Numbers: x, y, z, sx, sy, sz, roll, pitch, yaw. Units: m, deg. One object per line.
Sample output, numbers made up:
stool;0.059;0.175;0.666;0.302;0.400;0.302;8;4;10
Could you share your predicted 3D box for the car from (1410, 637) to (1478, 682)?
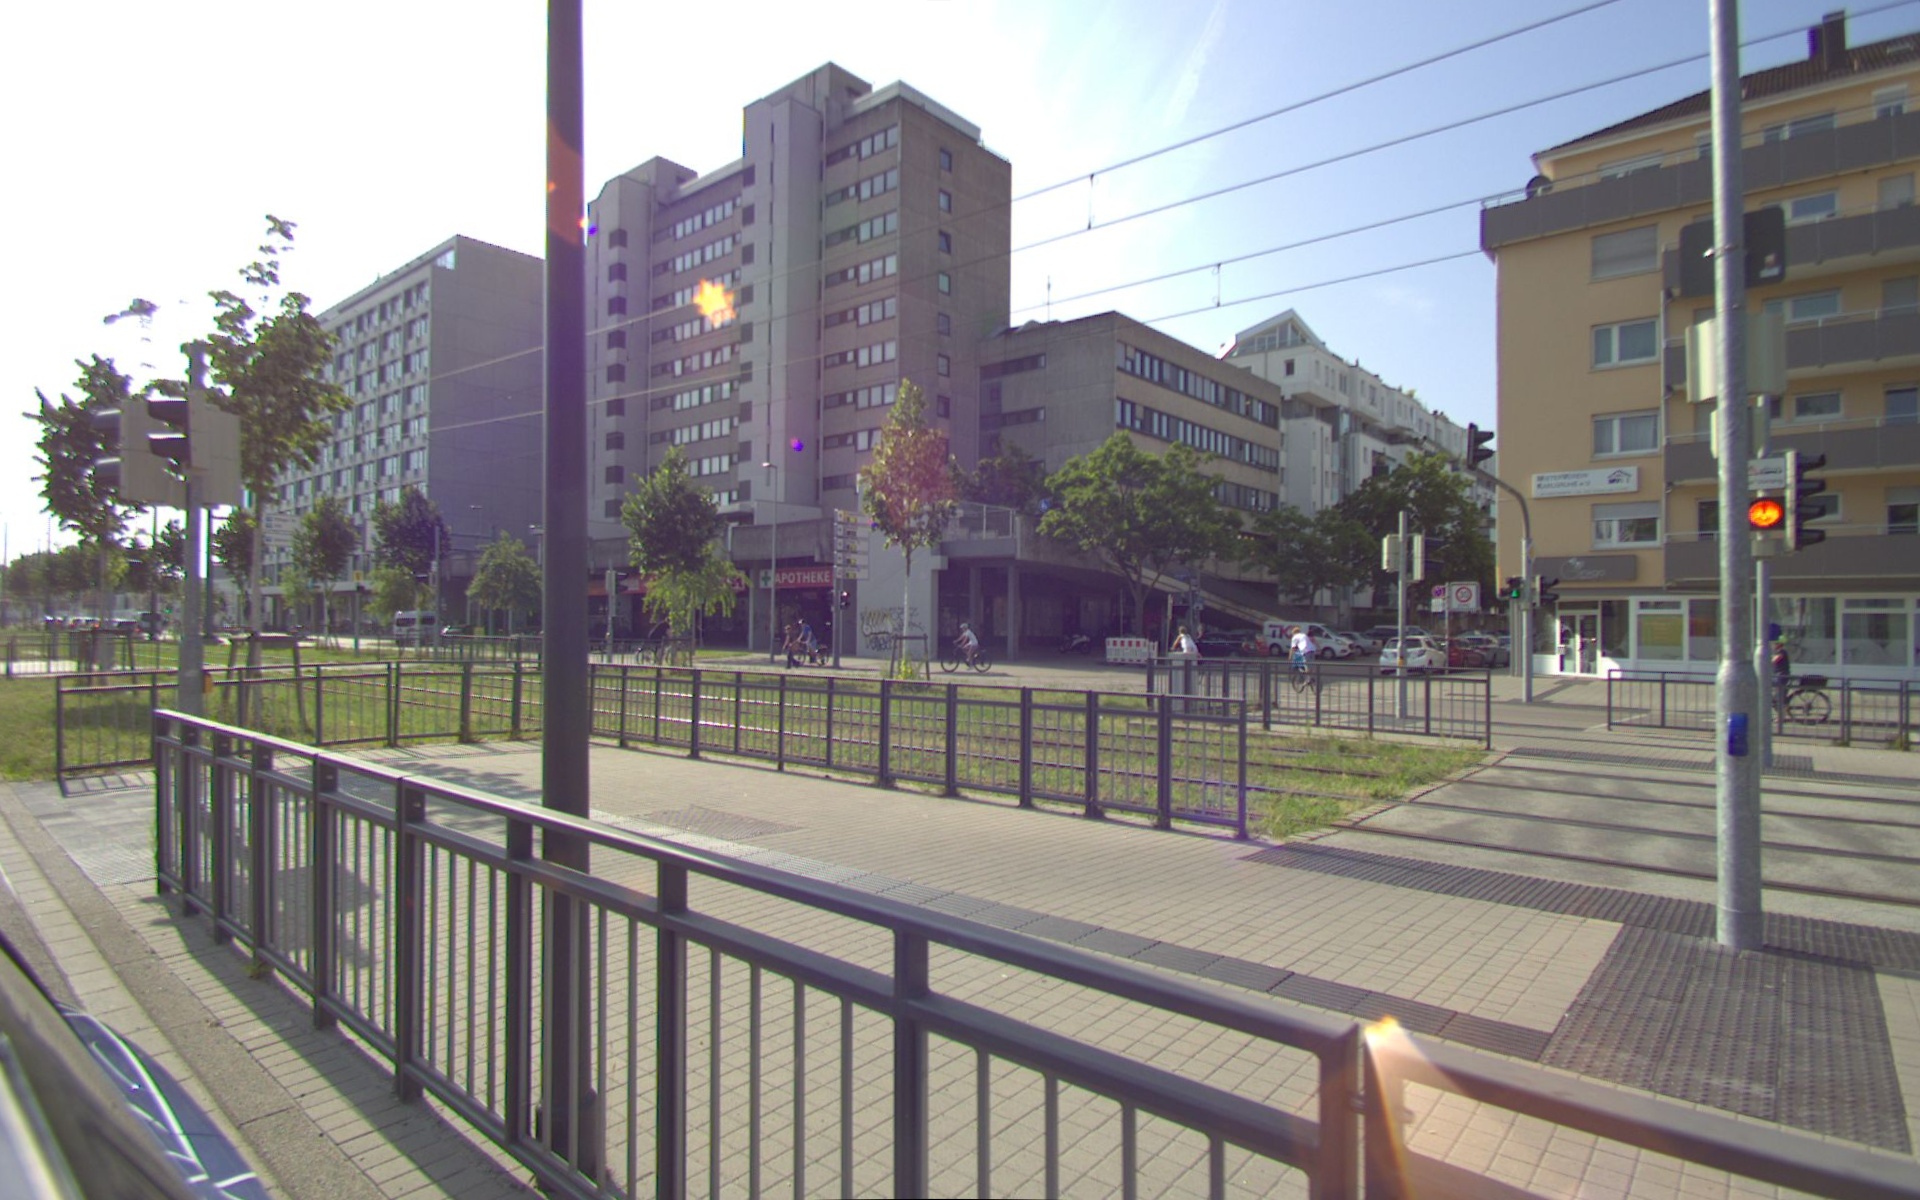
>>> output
car;19.666;2.366;41.068;1.772;1.701;3.751;-1;-2;37

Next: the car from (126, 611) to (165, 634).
car;-81.603;2.270;101.357;5.330;2.256;2.025;-1;-2;40

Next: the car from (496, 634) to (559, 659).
car;-25.494;2.729;59.796;1.854;1.253;4.110;-1;0;1

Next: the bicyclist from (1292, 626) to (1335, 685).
bicyclist;9.177;1.424;26.279;0.676;1.451;0.808;-1;0;-21

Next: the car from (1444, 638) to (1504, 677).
car;22.813;2.506;44.865;1.812;1.616;3.905;-1;-2;35

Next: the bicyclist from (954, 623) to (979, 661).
bicyclist;0.237;1.577;37.748;0.901;1.396;0.703;1;-4;0

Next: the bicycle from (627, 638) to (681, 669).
bicycle;-10.077;1.764;33.380;1.585;0.942;0.559;4;-5;-28

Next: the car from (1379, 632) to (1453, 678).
car;16.914;2.020;37.492;1.706;1.596;3.589;-4;-4;37

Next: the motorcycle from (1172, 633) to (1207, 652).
motorcycle;12.975;2.407;57.279;1.945;1.025;0.549;-1;-2;41

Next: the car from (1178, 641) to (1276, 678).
car;13.389;2.953;50.791;4.374;1.640;1.891;0;0;38

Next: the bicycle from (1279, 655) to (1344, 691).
bicycle;9.144;1.896;26.360;0.708;0.804;1.609;-1;0;-21

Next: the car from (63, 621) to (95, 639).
car;-80.411;2.736;92.330;4.000;1.586;1.787;-1;-2;43

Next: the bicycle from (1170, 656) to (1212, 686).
bicycle;6.826;2.081;29.995;0.619;0.799;2.005;0;-2;-5

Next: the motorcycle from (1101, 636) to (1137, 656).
motorcycle;8.473;2.424;53.934;1.945;1.025;0.487;-1;-2;41

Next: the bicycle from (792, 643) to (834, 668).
bicycle;-6.089;2.273;41.982;0.685;0.998;1.644;-1;-3;42

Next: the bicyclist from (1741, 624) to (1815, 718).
bicyclist;16.320;1.392;20.209;1.081;1.819;0.663;-1;-2;36

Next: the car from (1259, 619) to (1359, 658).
car;19.186;2.080;55.762;4.830;1.983;1.973;0;-2;41

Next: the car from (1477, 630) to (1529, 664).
car;27.507;2.341;51.259;1.812;1.616;3.904;-1;-2;36

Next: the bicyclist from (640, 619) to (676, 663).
bicyclist;-9.986;1.372;33.460;0.957;1.406;0.548;4;-5;-28

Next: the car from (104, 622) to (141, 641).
car;-65.597;2.460;79.249;4.000;1.492;1.787;-1;-2;43

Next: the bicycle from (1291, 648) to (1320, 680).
bicycle;11.940;2.186;34.959;0.893;0.972;2.978;0;-2;19

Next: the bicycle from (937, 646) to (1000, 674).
bicycle;0.318;2.218;37.685;2.313;1.007;0.707;0;-2;0

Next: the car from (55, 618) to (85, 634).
car;-85.449;2.474;97.154;4.000;1.486;1.787;-1;-2;43

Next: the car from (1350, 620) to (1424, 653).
car;27.511;2.314;65.279;3.998;2.029;1.973;-1;-2;41

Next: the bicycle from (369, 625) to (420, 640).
bicycle;-51.553;2.971;92.309;3.937;1.377;1.128;2;-2;-40

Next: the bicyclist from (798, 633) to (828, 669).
bicyclist;-6.089;2.101;42.013;0.685;1.451;1.010;-1;-3;42

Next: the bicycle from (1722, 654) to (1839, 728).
bicycle;16.319;1.790;20.195;1.754;1.356;0.688;-1;-2;36

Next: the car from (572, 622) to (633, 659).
car;-19.645;2.220;55.831;1.854;1.983;4.109;0;-2;1

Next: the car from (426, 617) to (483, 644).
car;-33.010;1.959;66.203;2.070;1.594;4.005;-2;0;-6

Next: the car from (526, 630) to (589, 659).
car;-22.777;2.494;57.473;1.854;1.618;4.109;0;-2;1

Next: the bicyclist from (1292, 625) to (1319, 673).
bicyclist;12.041;1.682;35.266;0.886;1.641;0.887;0;-2;20

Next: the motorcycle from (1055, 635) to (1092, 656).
motorcycle;5.723;2.262;50.971;1.945;1.025;0.487;-1;-2;41

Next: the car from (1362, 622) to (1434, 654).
car;29.075;2.488;67.188;3.998;2.029;1.973;-1;-2;41

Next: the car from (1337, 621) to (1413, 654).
car;26.042;2.336;63.508;3.998;2.029;1.973;-1;-2;41

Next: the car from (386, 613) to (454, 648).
car;-37.676;2.131;70.785;1.859;2.326;5.407;0;-2;0

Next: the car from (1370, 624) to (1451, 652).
car;31.357;2.631;70.499;4.768;1.833;1.973;-1;-2;41

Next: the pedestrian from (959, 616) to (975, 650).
pedestrian;0.368;1.785;54.156;0.622;1.790;0.693;-1;-2;28

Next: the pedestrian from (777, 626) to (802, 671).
pedestrian;-6.598;1.866;39.160;0.646;1.703;0.651;-1;-3;44

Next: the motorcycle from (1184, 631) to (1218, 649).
motorcycle;14.126;2.328;59.383;1.945;1.025;0.549;-1;-2;41

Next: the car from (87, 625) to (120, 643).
car;-71.514;2.826;84.485;3.641;1.498;1.722;-1;-2;43

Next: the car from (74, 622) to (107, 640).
car;-76.262;2.692;88.757;4.000;1.586;1.787;-1;-2;43

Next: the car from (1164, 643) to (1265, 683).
car;12.208;2.978;48.667;4.374;1.640;1.891;0;0;38

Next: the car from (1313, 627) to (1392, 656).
car;23.513;2.461;60.741;3.998;1.630;1.973;-1;-2;41

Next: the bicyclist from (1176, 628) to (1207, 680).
bicyclist;6.837;1.587;29.932;0.611;1.511;0.987;0;-2;-5
